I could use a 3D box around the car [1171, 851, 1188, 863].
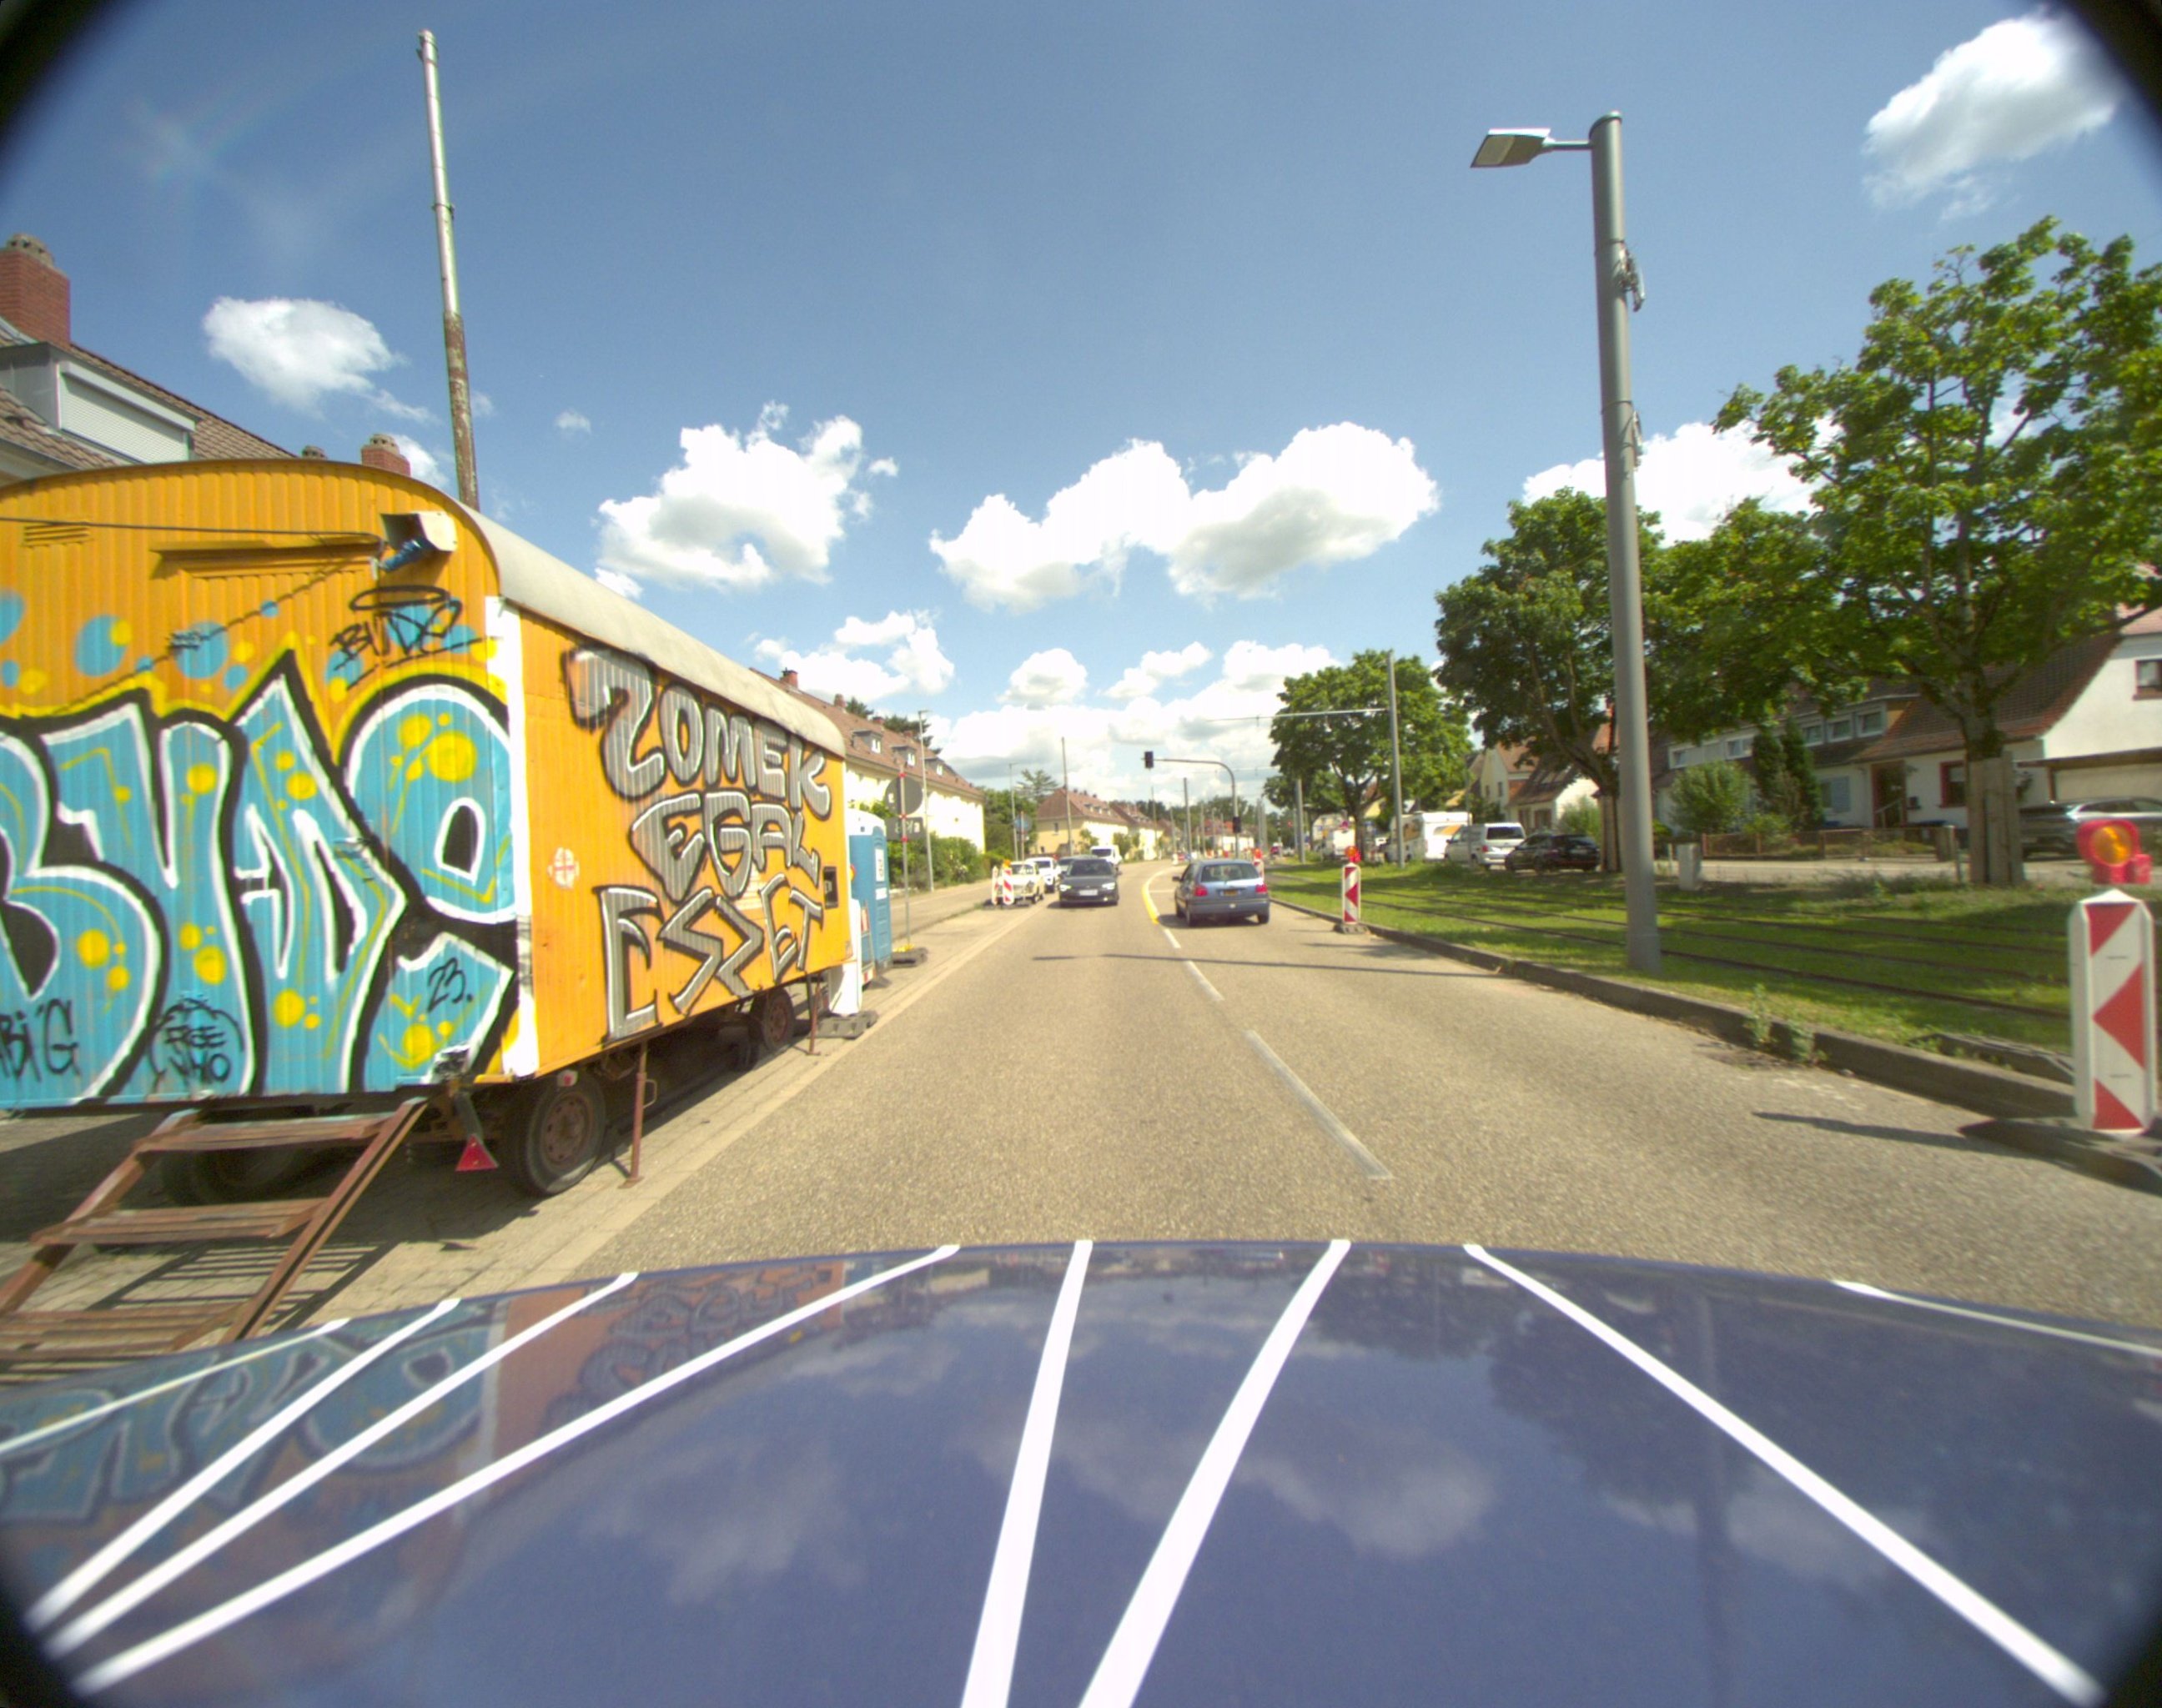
[{"bbox_3d":[14.622,0.471,112.594,1.877,1.543,4.990,-3,0,13],"label":"car"}]

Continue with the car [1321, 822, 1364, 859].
[{"bbox_3d":[20.505,-1.030,59.779,2.157,2.653,4.918,-3,0,8],"label":"car"}]

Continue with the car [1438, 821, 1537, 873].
[{"bbox_3d":[17.683,-0.312,33.336,1.998,2.002,4.905,-3,0,5],"label":"car"}]

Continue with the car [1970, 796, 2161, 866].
[{"bbox_3d":[25.561,-0.593,19.177,3.997,1.521,1.873,-4,0,0],"label":"car"}]

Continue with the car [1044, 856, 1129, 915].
[{"bbox_3d":[0.298,0.888,23.412,1.741,1.513,4.705,-1,1,11],"label":"car"}]

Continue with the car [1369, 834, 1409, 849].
[{"bbox_3d":[36.514,-1.422,90.064,3.958,1.535,1.761,-3,0,6],"label":"car"}]

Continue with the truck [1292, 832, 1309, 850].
[{"bbox_3d":[41.340,-2.396,143.129,2.839,3.135,7.943,-3,0,17],"label":"truck"}]

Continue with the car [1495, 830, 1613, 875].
[{"bbox_3d":[16.917,-0.073,27.466,1.855,1.379,4.811,-3,0,9],"label":"car"}]

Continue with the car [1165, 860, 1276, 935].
[{"bbox_3d":[2.962,0.863,16.891,1.669,1.441,3.959,-1,0,-1],"label":"car"}]

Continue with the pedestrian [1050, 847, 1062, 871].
[{"bbox_3d":[-2.168,0.459,65.361,0.774,2.002,0.762,-3,1,8],"label":"pedestrian"}]

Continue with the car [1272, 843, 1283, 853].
[{"bbox_3d":[33.246,-0.990,128.296,1.728,1.553,4.649,-3,0,15],"label":"car"}]

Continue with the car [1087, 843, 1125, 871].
[{"bbox_3d":[2.210,0.198,65.455,2.280,2.170,6.372,-2,0,10],"label":"car"}]

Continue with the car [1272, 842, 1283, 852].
[{"bbox_3d":[36.802,-1.361,142.408,1.728,1.843,4.546,-3,0,14],"label":"car"}]

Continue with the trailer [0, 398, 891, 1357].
[{"bbox_3d":[-3.374,0.117,5.155,2.697,3.208,5.081,-3,0,0],"label":"trailer"}]

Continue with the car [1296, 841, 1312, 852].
[{"bbox_3d":[32.135,-1.100,109.430,1.727,1.518,4.776,-3,0,20],"label":"car"}]

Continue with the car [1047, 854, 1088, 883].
[{"bbox_3d":[-0.715,0.795,43.252,1.753,1.489,4.387,-2,0,6],"label":"car"}]

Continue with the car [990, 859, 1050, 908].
[{"bbox_3d":[-2.059,0.976,26.652,1.466,1.493,4.110,-2,0,3],"label":"car"}]

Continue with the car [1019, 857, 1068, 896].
[{"bbox_3d":[-1.577,0.934,32.934,1.531,1.472,3.811,-2,0,6],"label":"car"}]

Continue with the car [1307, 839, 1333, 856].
[{"bbox_3d":[22.234,-0.598,70.872,1.695,1.456,4.758,-3,0,10],"label":"car"}]

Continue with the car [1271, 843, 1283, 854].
[{"bbox_3d":[31.356,-0.902,121.601,1.728,1.553,4.546,-3,0,15],"label":"car"}]

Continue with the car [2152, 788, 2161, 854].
[{"bbox_3d":[30.367,-1.013,19.205,3.997,1.727,1.799,-4,0,0],"label":"car"}]

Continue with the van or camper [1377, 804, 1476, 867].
[{"bbox_3d":[18.000,-0.907,40.136,2.381,2.953,7.298,-3,0,5],"label":"van or camper"}]
